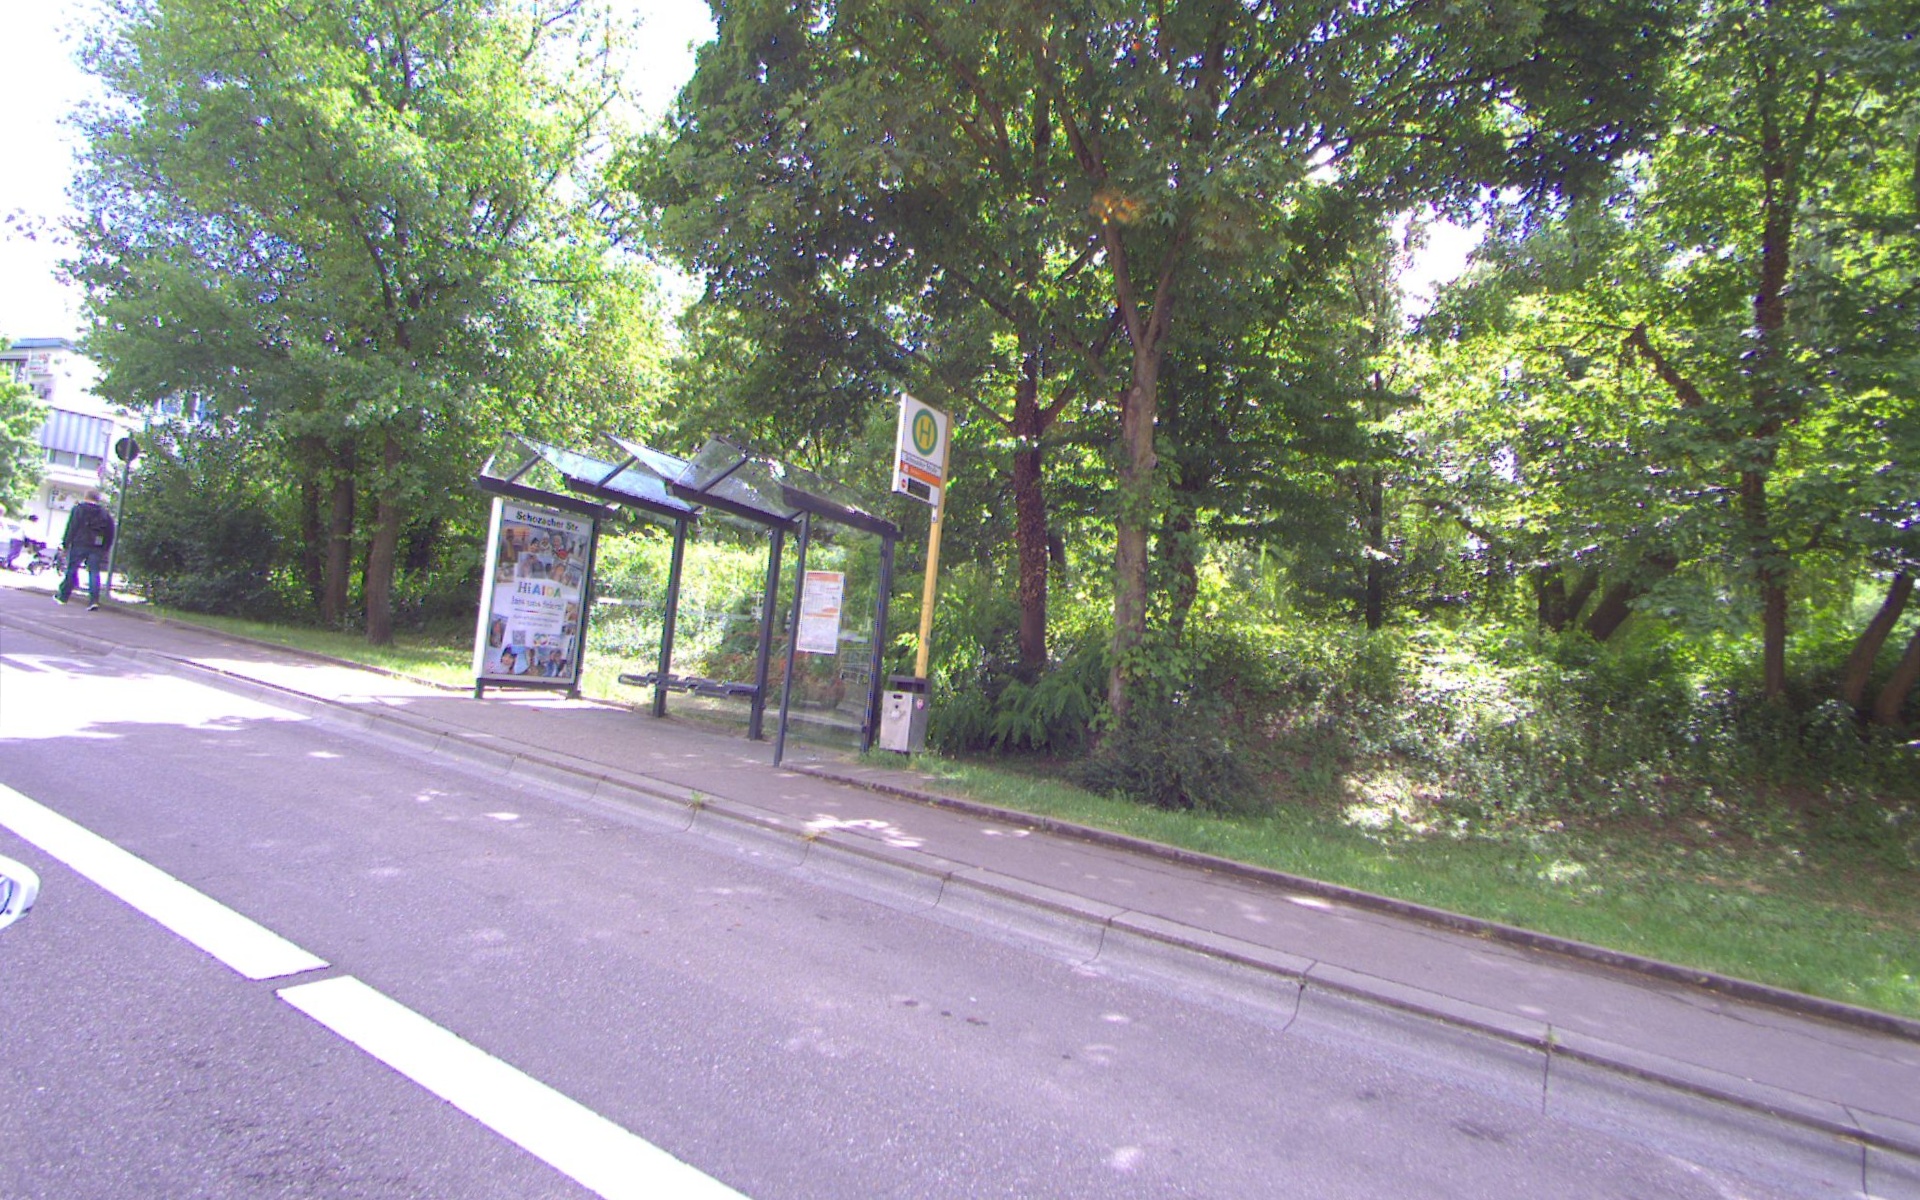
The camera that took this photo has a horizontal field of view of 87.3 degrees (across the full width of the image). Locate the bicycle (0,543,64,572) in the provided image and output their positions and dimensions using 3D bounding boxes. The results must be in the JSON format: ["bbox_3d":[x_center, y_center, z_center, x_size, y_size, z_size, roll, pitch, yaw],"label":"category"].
[{"bbox_3d":[-24.069,-1.085,26.107,0.526,0.617,1.586,8,-2,-15],"label":"bicycle"}]

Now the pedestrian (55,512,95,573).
[{"bbox_3d":[-26.402,-1.712,30.017,0.652,1.733,0.458,8,-1,-32],"label":"pedestrian"}]

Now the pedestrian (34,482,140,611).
[{"bbox_3d":[-13.936,-0.843,16.072,0.996,1.898,0.797,6,-1,28],"label":"pedestrian"}]

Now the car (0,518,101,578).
[{"bbox_3d":[-30.044,-1.806,31.116,1.964,1.539,4.808,7,-3,24],"label":"car"}]

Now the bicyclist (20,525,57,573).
[{"bbox_3d":[-24.084,-1.334,26.299,0.495,1.170,0.398,7,-1,-16],"label":"bicyclist"}]

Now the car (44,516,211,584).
[{"bbox_3d":[-32.901,-1.931,39.923,1.964,2.037,4.549,6,-1,24],"label":"car"}]

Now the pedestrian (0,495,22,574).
[{"bbox_3d":[-22.177,-1.534,23.069,0.508,1.787,0.638,7,-1,21],"label":"pedestrian"}]

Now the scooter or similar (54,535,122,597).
[{"bbox_3d":[-20.230,-0.772,23.352,0.447,1.242,0.893,6,-6,32],"label":"scooter or similar"}]

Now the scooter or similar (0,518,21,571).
[{"bbox_3d":[-24.932,-1.494,25.686,0.546,1.286,1.153,6,-3,34],"label":"scooter or similar"}]
